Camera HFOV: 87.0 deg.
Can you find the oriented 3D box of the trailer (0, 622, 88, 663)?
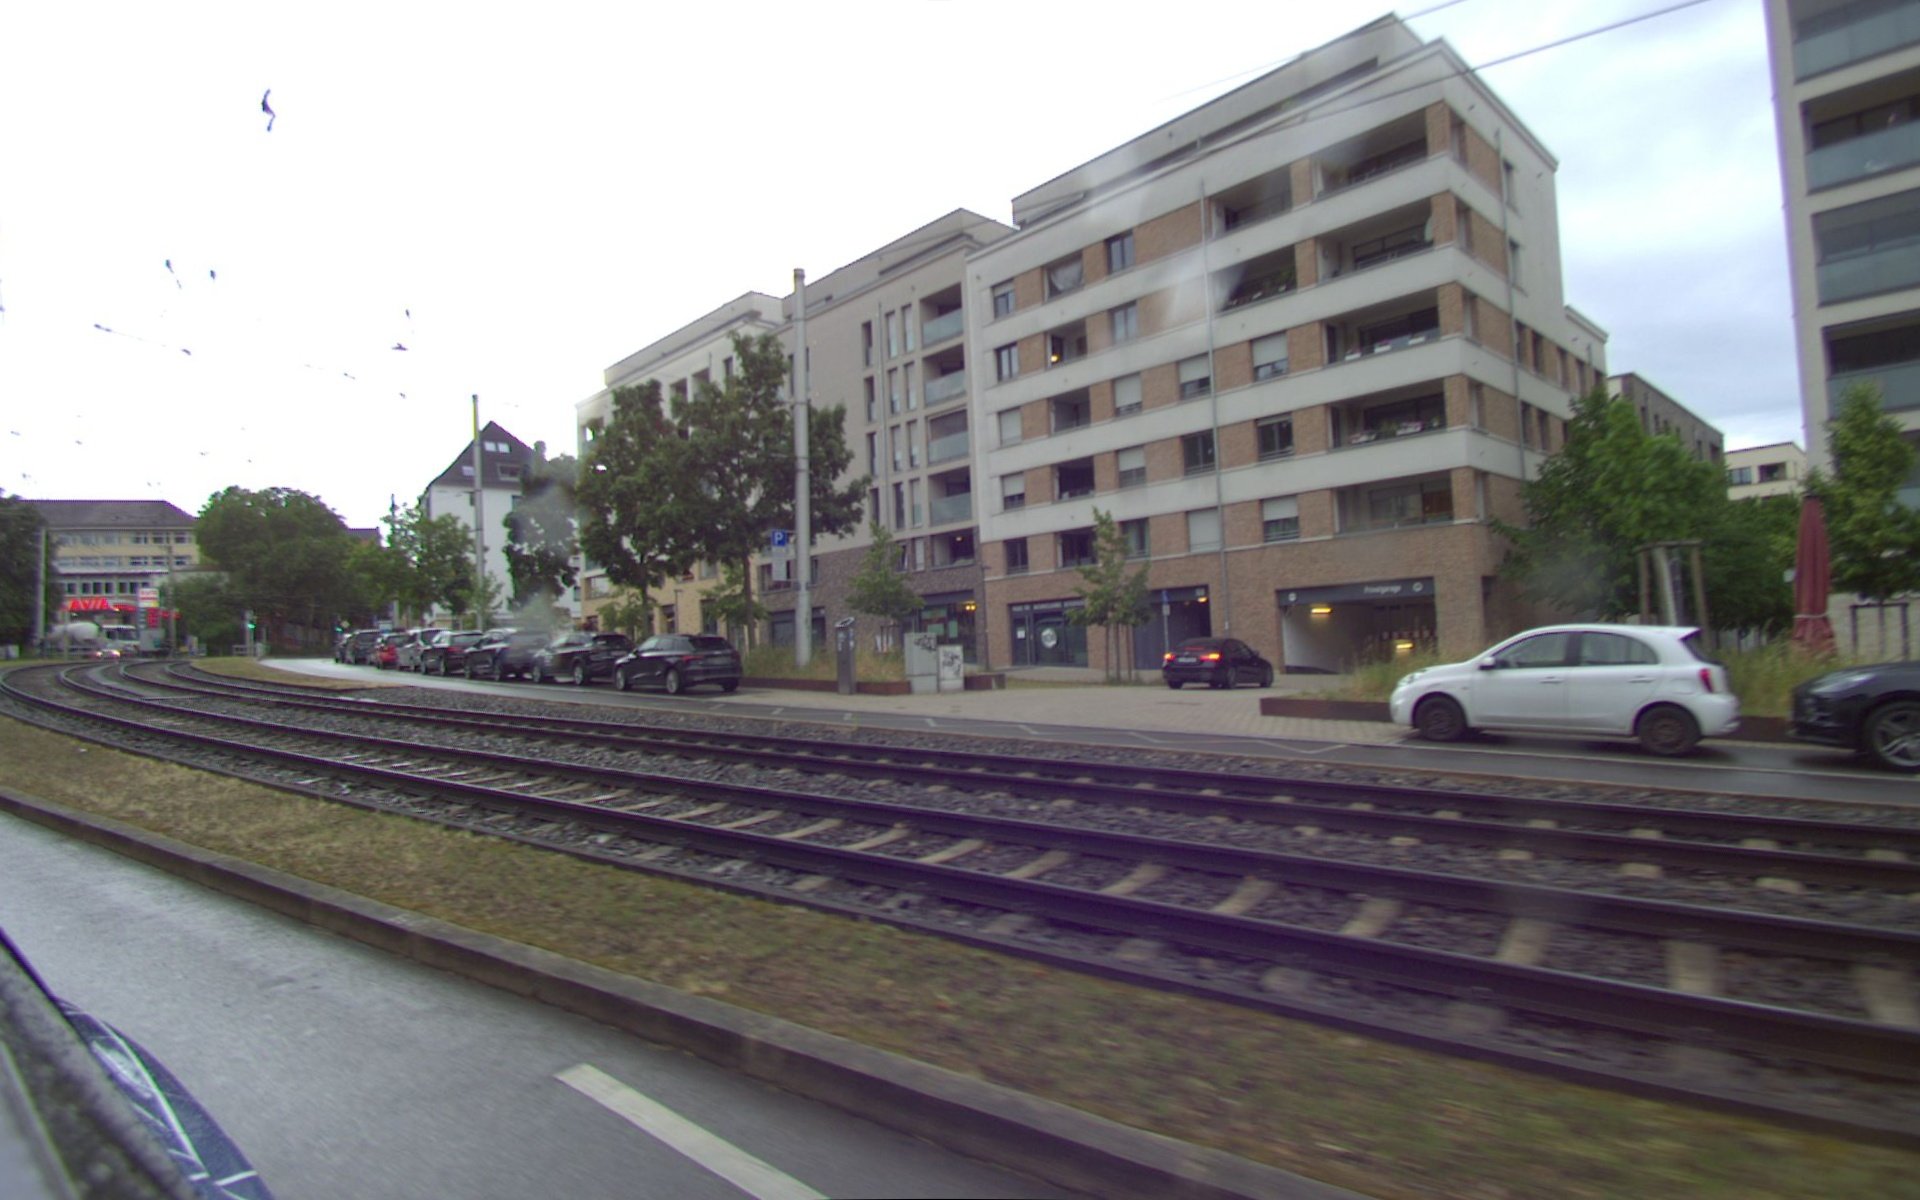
[{"bbox_3d":[-80.524,3.614,85.745,9.665,3.422,2.822,0,-2,-20],"label":"trailer"}]

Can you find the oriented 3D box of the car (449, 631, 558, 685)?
[{"bbox_3d":[-15.003,1.858,33.111,1.782,1.595,4.702,0,-2,-44],"label":"car"}]

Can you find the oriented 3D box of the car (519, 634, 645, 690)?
[{"bbox_3d":[-11.186,1.772,29.801,4.256,1.500,1.718,-2,-2,42],"label":"car"}]

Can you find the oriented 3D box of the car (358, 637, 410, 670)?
[{"bbox_3d":[-28.013,2.584,49.171,1.530,1.458,4.408,-1,-2,-38],"label":"car"}]

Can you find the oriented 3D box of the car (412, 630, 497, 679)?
[{"bbox_3d":[-18.633,1.984,37.220,1.710,1.657,4.538,0,-2,-41],"label":"car"}]

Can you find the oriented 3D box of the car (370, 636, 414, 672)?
[{"bbox_3d":[-25.509,2.388,45.397,1.449,1.543,2.938,0,-2,-35],"label":"car"}]

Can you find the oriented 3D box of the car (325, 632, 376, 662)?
[{"bbox_3d":[-34.401,2.613,57.040,1.968,1.617,4.223,1,-2,-38],"label":"car"}]

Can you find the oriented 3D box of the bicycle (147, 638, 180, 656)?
[{"bbox_3d":[-53.343,3.147,67.793,1.686,1.149,0.626,1,-3,-43],"label":"bicycle"}]

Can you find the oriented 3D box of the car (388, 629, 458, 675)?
[{"bbox_3d":[-22.241,2.114,41.831,1.642,1.761,4.263,1,-2,-41],"label":"car"}]

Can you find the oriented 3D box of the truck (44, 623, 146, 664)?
[{"bbox_3d":[-74.935,3.746,87.828,6.019,3.426,2.846,0,-3,-20],"label":"truck"}]

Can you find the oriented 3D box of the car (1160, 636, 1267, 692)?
[{"bbox_3d":[7.145,1.764,28.302,1.758,1.446,3.955,-2,-3,32],"label":"car"}]

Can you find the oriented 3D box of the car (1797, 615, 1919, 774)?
[{"bbox_3d":[11.150,0.921,9.903,4.396,1.573,1.750,-2,-3,36],"label":"car"}]

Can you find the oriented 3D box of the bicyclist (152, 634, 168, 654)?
[{"bbox_3d":[-53.477,2.938,67.669,0.788,1.304,0.595,1,-1,-43],"label":"bicyclist"}]

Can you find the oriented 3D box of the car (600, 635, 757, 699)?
[{"bbox_3d":[-7.155,1.629,25.475,4.200,1.442,1.944,-2,-2,44],"label":"car"}]

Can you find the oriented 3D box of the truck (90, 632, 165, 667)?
[{"bbox_3d":[-90.793,5.373,110.618,2.617,3.596,10.285,0,-2,-17],"label":"truck"}]

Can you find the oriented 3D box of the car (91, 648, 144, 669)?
[{"bbox_3d":[-65.963,4.564,79.276,1.858,1.502,3.861,0,-2,-18],"label":"car"}]

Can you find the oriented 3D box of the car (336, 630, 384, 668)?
[{"bbox_3d":[-31.500,2.552,53.117,1.561,1.873,4.341,-1,-1,-38],"label":"car"}]

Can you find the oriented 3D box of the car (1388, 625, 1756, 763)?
[{"bbox_3d":[7.673,1.091,12.884,3.734,1.490,1.746,-2,-3,42],"label":"car"}]
